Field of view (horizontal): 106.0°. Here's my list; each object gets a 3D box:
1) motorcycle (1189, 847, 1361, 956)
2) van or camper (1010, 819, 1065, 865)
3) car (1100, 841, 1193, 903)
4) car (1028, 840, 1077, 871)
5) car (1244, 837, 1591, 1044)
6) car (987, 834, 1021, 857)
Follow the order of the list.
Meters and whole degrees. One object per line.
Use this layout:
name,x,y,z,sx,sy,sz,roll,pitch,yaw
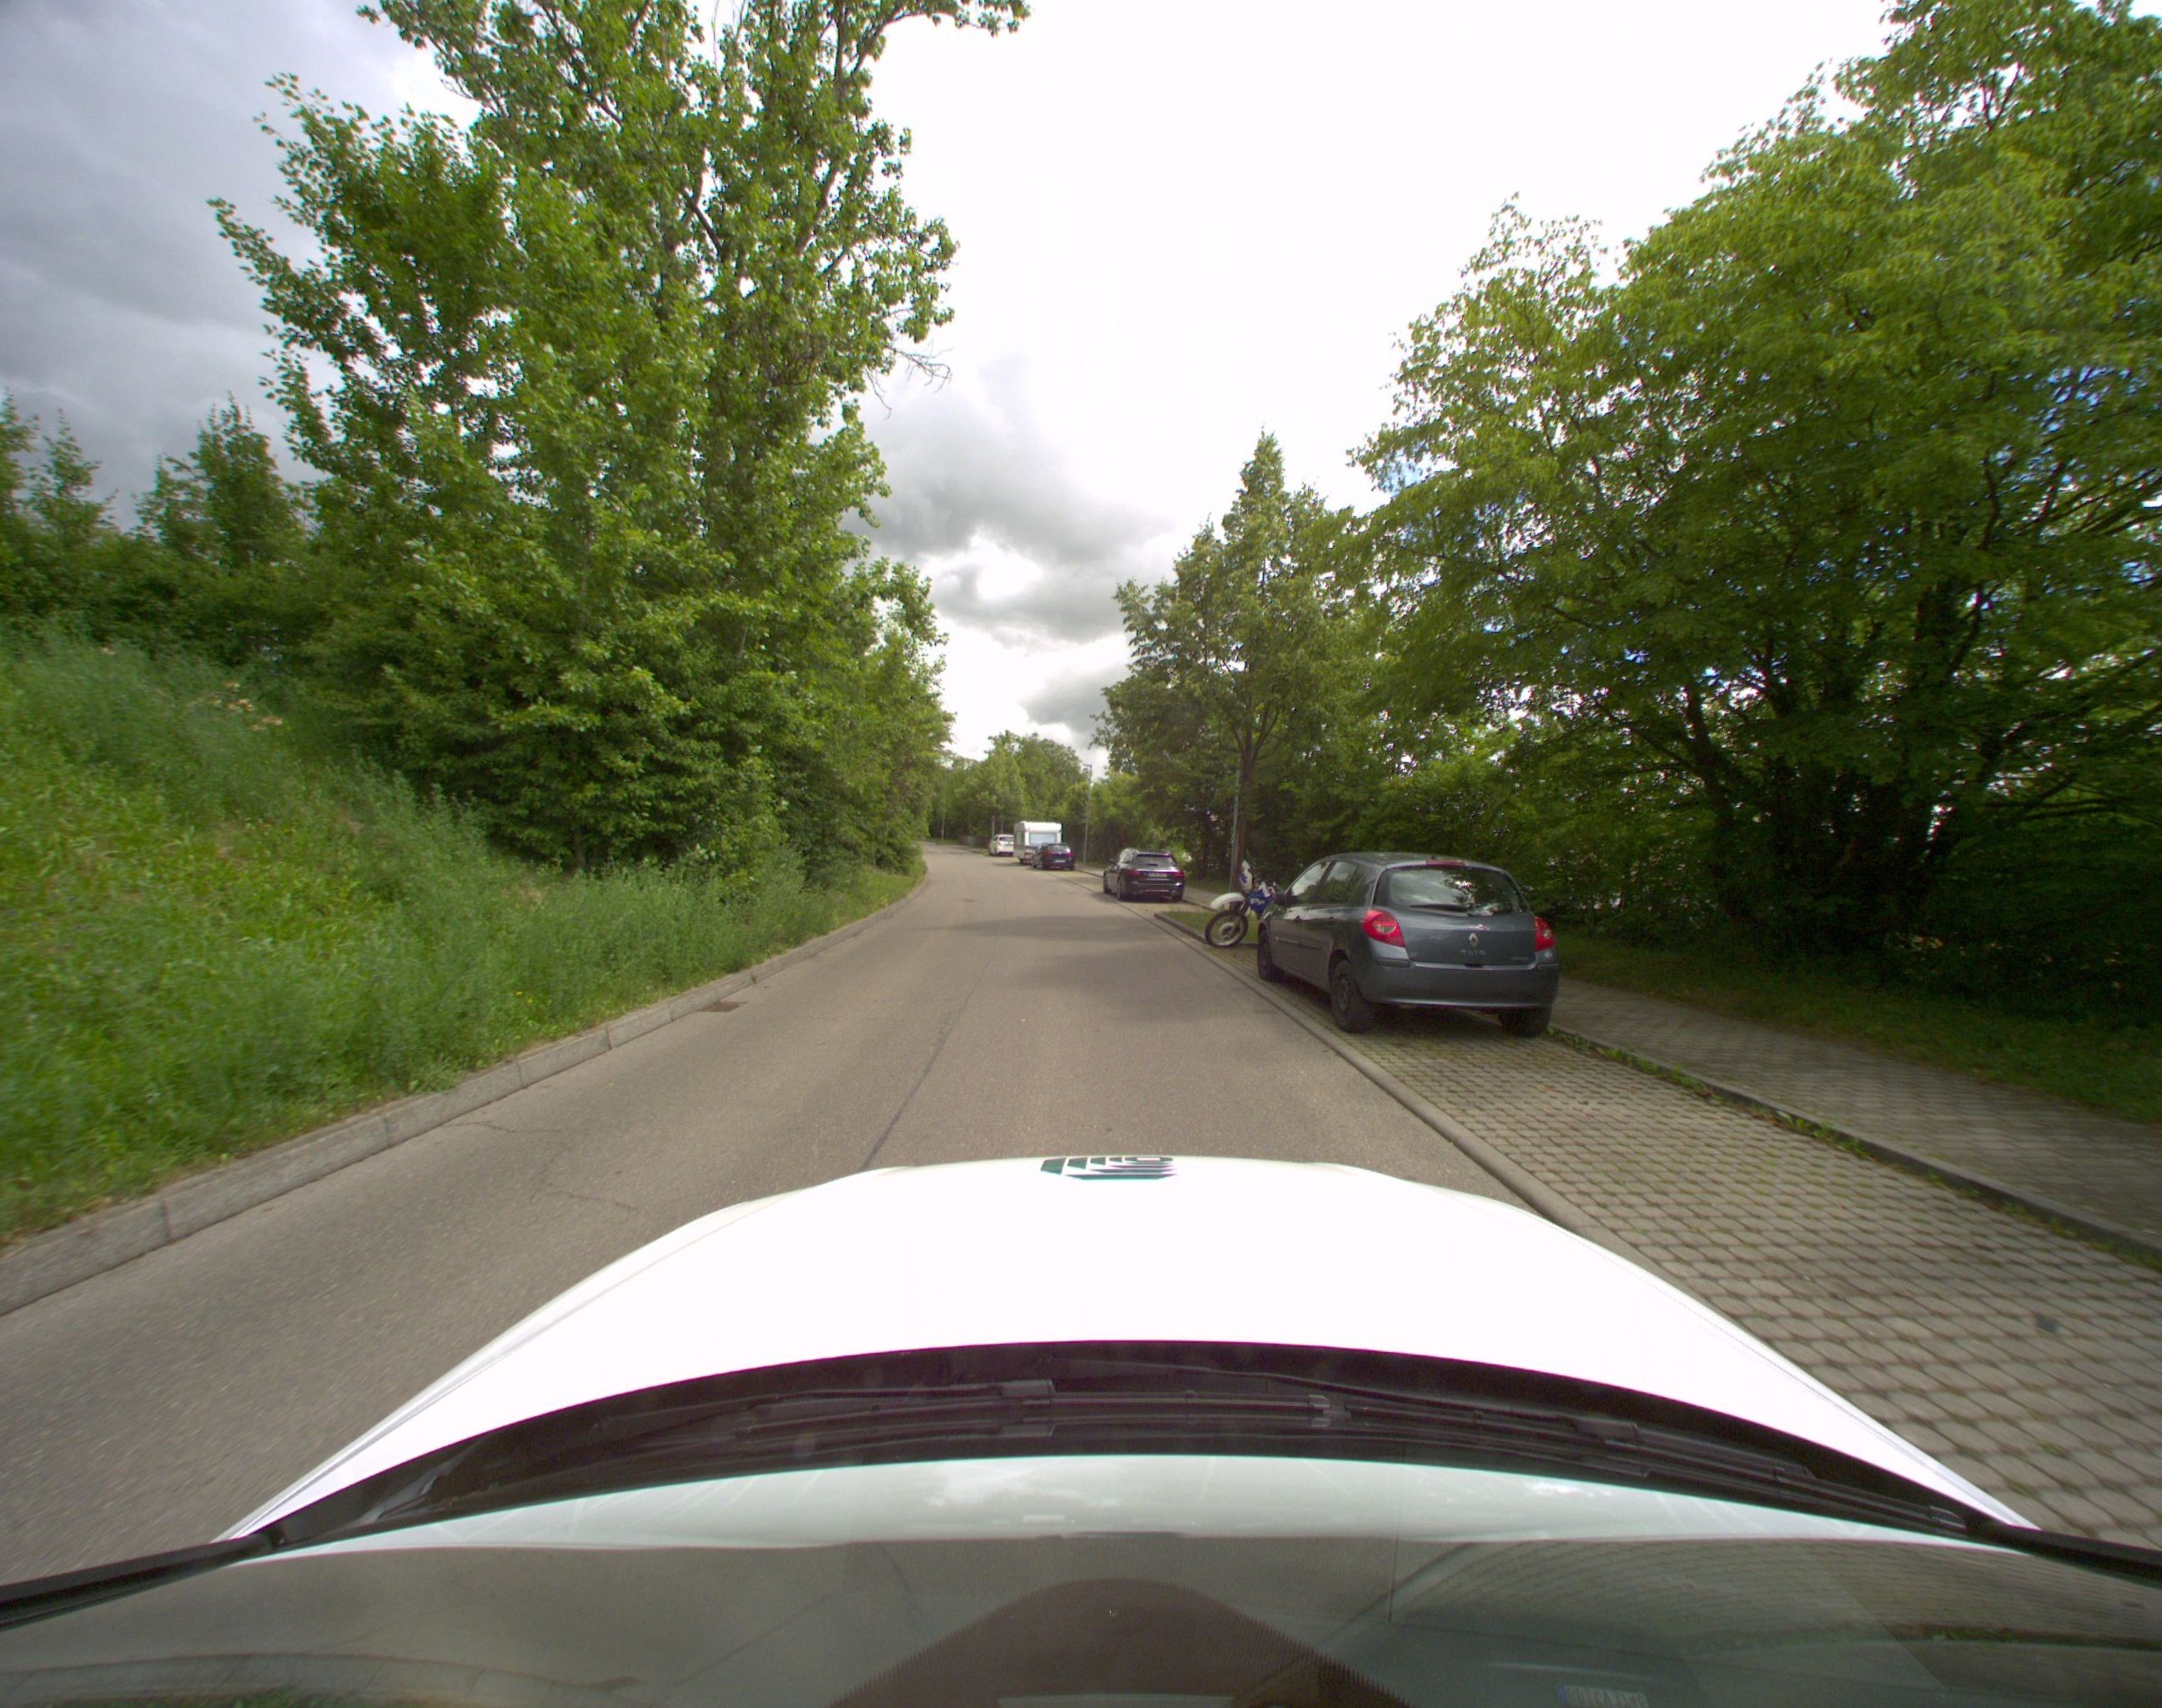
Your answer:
motorcycle,2.823,0.633,11.839,2.285,1.476,0.980,0,0,23
van or camper,-2.667,-0.728,48.717,2.357,2.553,5.052,1,1,-13
car,1.804,0.448,23.899,1.890,1.529,4.538,2,1,-6
car,-1.561,0.027,43.171,1.684,1.450,4.460,2,1,-13
car,2.940,0.660,8.163,1.764,1.517,4.106,1,0,0
car,-5.835,-0.679,61.079,1.808,1.599,4.350,1,2,-15
